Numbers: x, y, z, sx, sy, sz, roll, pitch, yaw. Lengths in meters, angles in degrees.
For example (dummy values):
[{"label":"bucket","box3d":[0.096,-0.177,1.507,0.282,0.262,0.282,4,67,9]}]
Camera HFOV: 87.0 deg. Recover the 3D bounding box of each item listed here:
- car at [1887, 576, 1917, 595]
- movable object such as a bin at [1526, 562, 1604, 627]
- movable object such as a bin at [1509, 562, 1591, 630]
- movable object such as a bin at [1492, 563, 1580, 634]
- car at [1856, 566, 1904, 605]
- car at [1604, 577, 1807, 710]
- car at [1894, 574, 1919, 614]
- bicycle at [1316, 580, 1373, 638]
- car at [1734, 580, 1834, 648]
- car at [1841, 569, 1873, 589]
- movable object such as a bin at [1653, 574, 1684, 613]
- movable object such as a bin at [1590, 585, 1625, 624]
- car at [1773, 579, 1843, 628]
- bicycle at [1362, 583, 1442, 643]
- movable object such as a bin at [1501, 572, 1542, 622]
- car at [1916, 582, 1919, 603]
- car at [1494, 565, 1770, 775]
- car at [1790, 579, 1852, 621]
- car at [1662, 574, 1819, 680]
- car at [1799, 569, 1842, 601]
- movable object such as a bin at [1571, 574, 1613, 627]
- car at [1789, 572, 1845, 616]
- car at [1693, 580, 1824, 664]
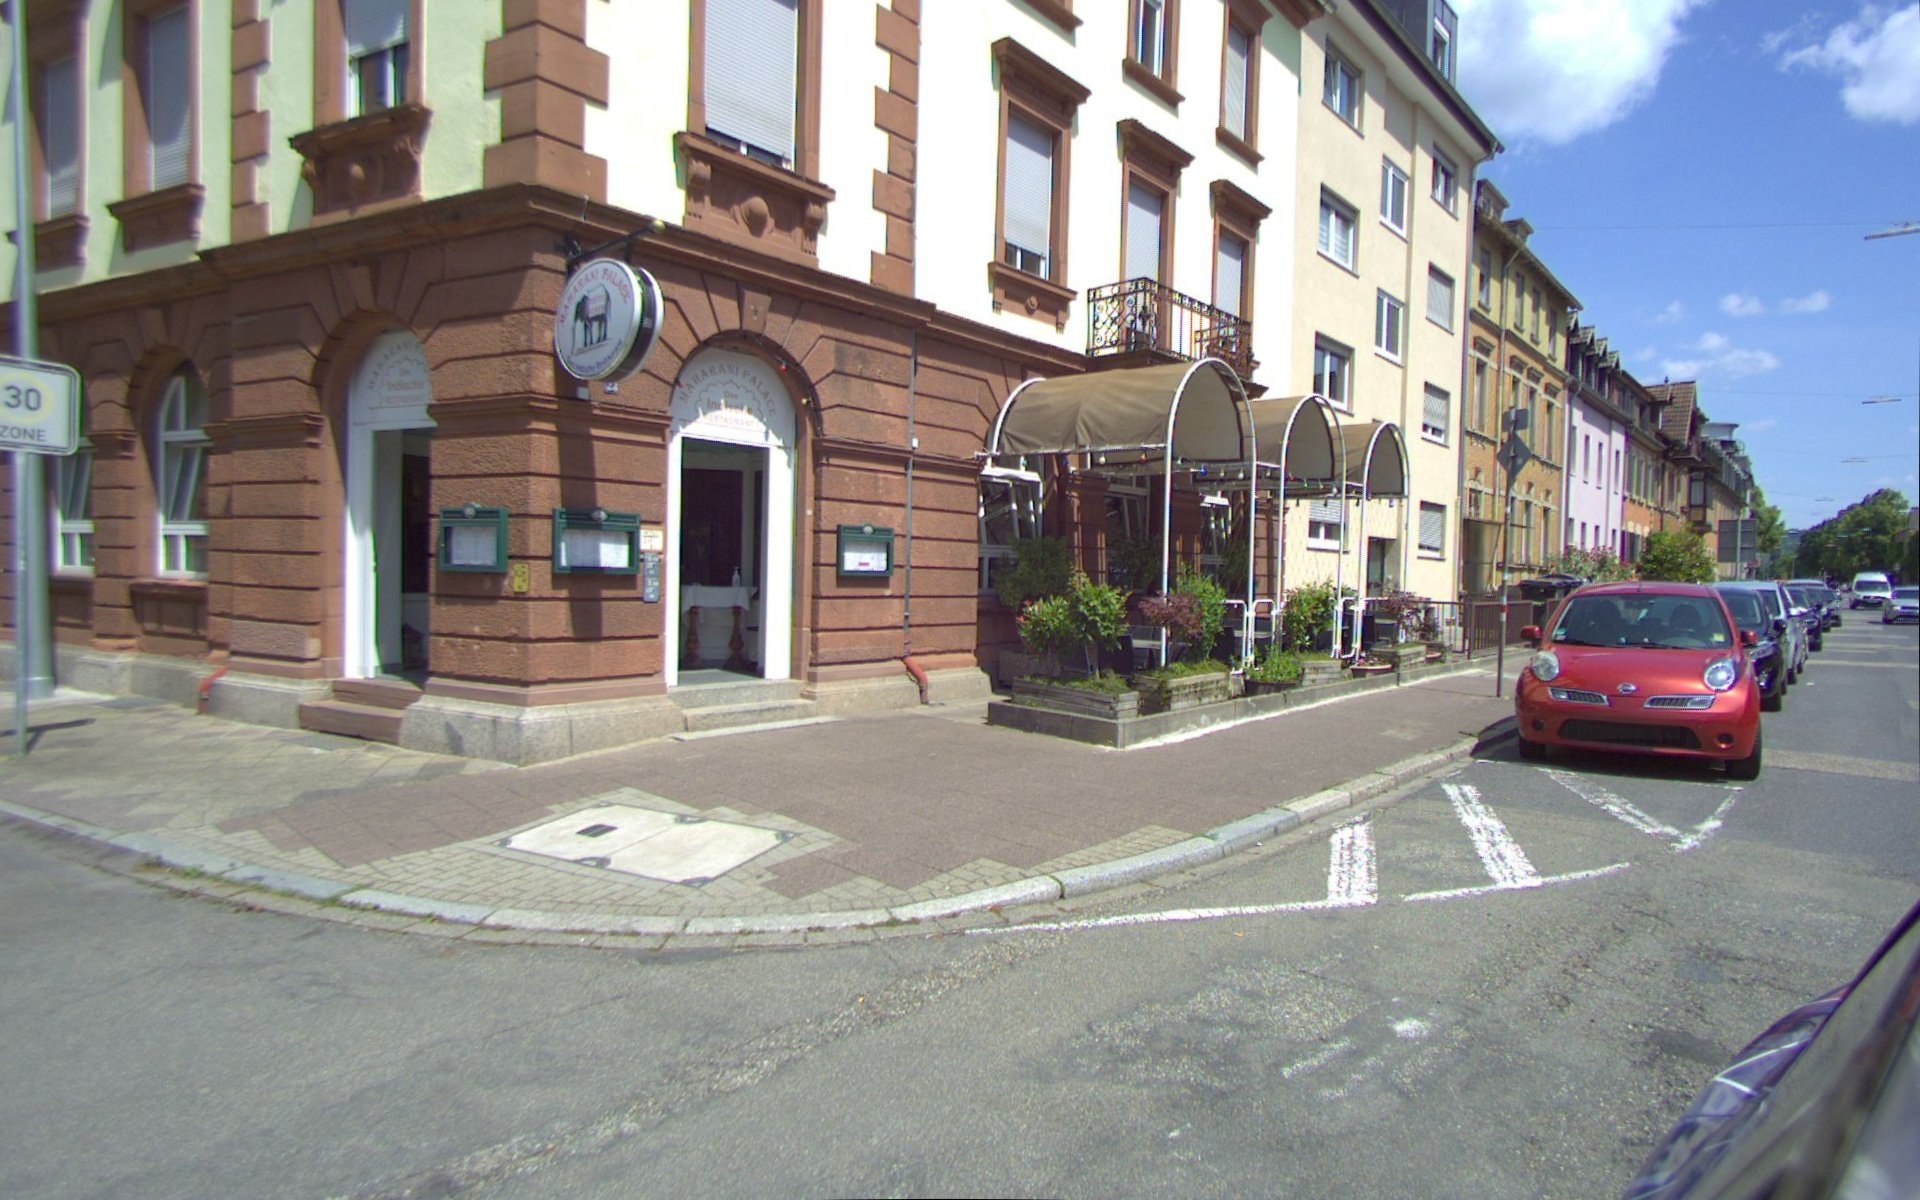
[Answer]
[{"label":"car","box3d":[84.019,-1.311,90.284,1.805,1.550,3.940,5,4,41]},{"label":"movable object such as a bin","box3d":[13.905,-0.154,23.262,1.282,1.428,1.285,3,3,43]},{"label":"movable object such as a bin","box3d":[12.990,-0.106,22.272,1.282,1.413,1.343,3,3,43]},{"label":"movable object such as a bin","box3d":[12.078,-0.056,21.215,1.282,1.413,1.391,3,3,43]},{"label":"car","box3d":[55.653,-0.909,61.282,1.898,2.302,5.589,2,2,40]},{"label":"car","box3d":[9.952,0.457,13.400,1.757,1.497,3.871,-1,0,43]},{"label":"car","box3d":[37.719,-0.252,39.443,1.900,1.516,4.418,2,2,43]},{"label":"bicycle","box3d":[7.063,0.140,18.566,0.549,0.995,1.608,2,2,37]},{"label":"car","box3d":[20.204,0.284,24.784,1.755,1.497,4.355,-1,0,40]},{"label":"car","box3d":[72.396,-1.718,81.674,1.899,1.516,4.419,2,2,42]},{"label":"movable object such as a bin","box3d":[23.606,-0.240,33.707,0.750,1.257,0.864,2,2,41]},{"label":"movable object such as a bin","box3d":[16.076,0.104,25.125,0.624,0.939,0.603,3,2,41]},{"label":"car","box3d":[28.237,0.084,33.682,1.702,1.497,3.873,-1,0,41]},{"label":"bicycle","box3d":[7.729,0.211,17.683,1.599,0.995,0.552,0,2,-37]},{"label":"movable object such as a bin","box3d":[13.891,-0.082,25.047,0.721,1.182,0.736,3,2,41]},{"label":"car","box3d":[69.314,-0.523,71.867,1.805,1.451,3.940,5,4,41]},{"label":"car","box3d":[6.243,0.475,9.242,1.754,1.497,3.731,-1,0,39]},{"label":"car","box3d":[32.333,-0.022,37.996,1.702,1.497,3.873,-1,0,41]},{"label":"car","box3d":[13.257,0.367,17.092,1.756,1.571,4.003,-1,0,43]},{"label":"car","box3d":[46.694,-0.831,54.921,1.702,1.648,3.873,-1,0,41]},{"label":"movable object such as a bin","box3d":[15.034,-0.004,24.075,0.721,1.202,0.736,2,2,41]},{"label":"car","box3d":[35.810,-0.268,42.289,1.702,1.731,3.873,-1,0,41]},{"label":"car","box3d":[15.968,0.363,20.164,1.757,1.497,3.871,-1,0,43]}]
